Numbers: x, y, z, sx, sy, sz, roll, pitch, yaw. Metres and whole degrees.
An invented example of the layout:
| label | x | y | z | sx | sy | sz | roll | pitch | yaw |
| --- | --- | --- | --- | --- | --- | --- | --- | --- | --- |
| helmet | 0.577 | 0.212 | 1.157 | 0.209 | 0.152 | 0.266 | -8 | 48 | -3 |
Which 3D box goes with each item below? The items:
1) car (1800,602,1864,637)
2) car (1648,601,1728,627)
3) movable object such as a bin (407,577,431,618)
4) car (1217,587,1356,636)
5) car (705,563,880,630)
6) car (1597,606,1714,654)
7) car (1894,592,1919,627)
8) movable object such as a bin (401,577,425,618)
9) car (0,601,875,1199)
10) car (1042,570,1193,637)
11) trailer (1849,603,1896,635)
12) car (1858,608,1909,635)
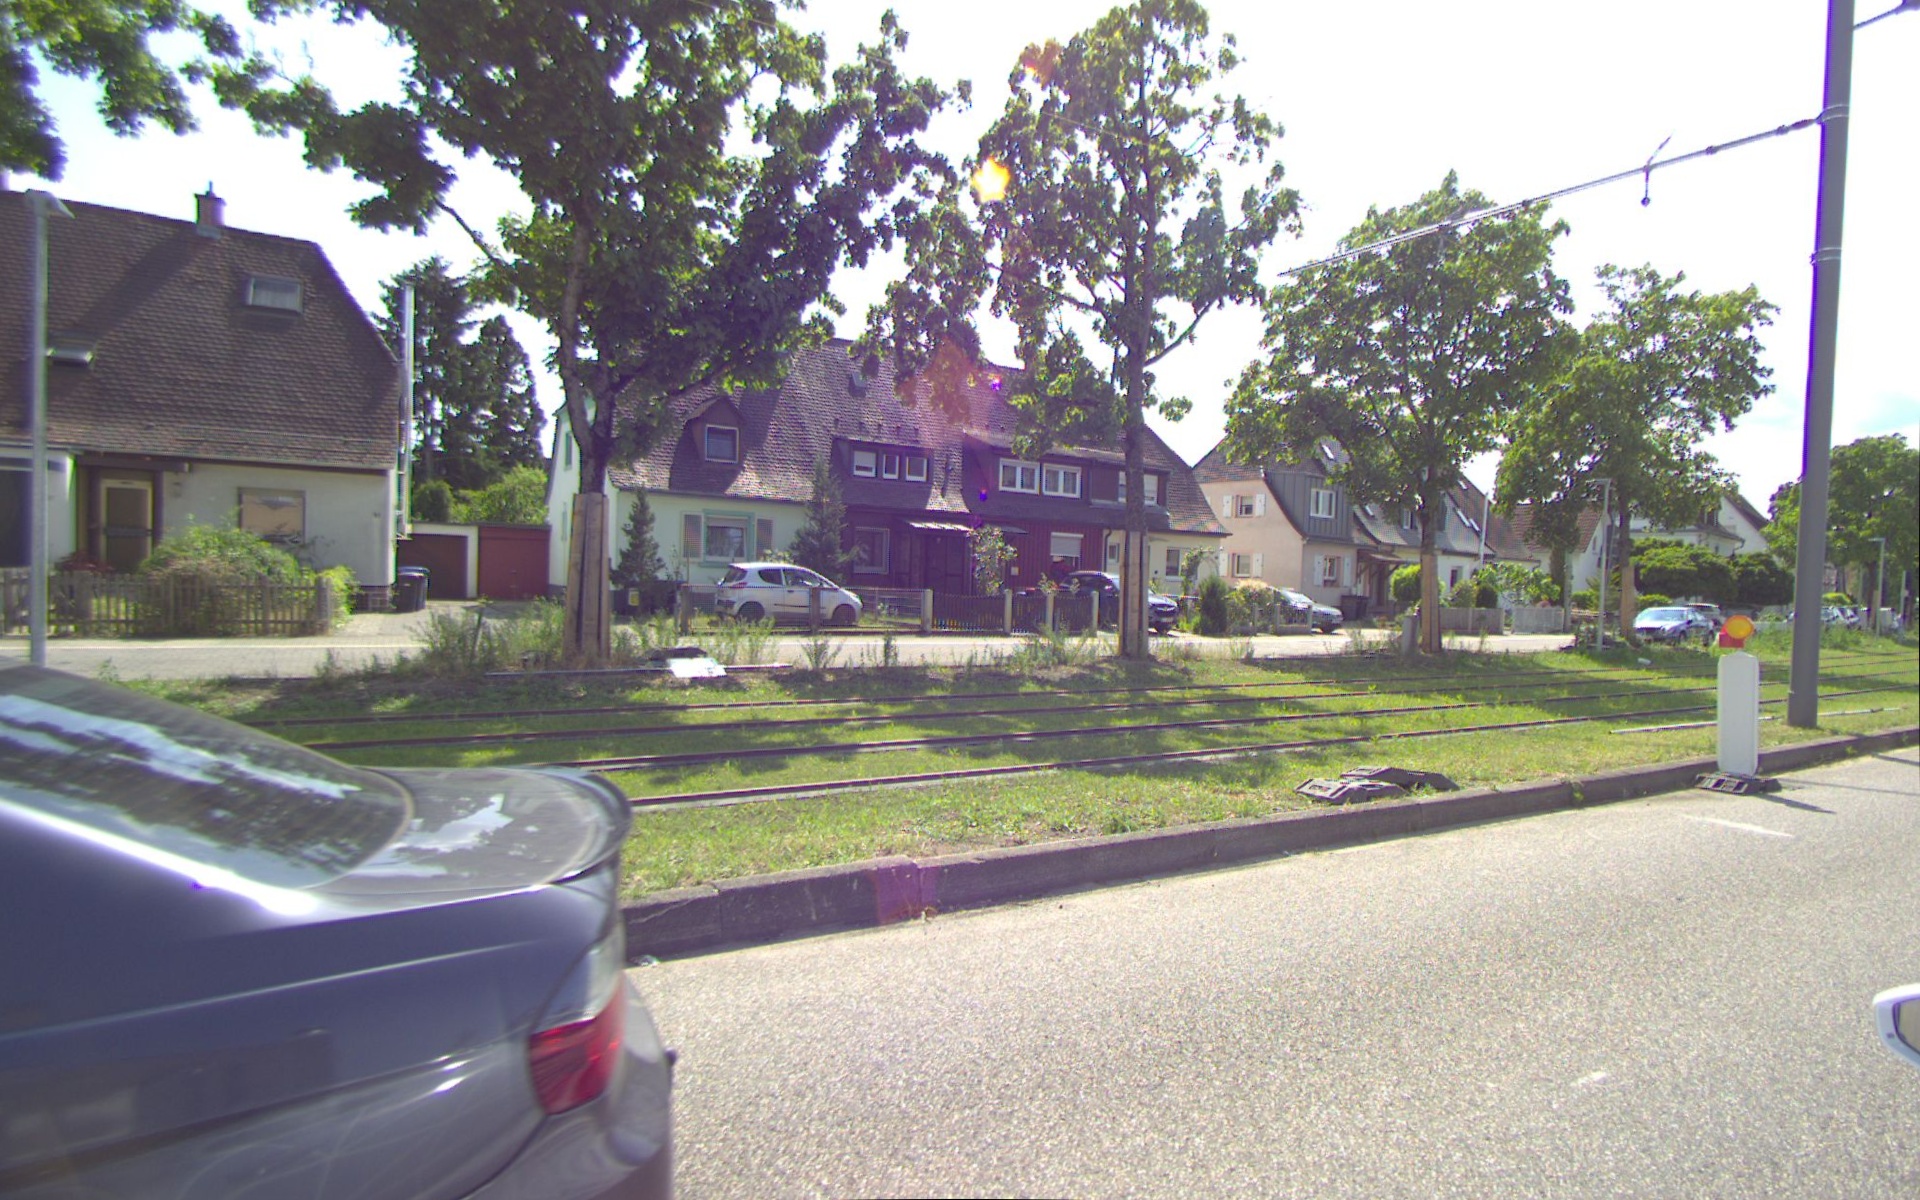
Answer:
| label | x | y | z | sx | sy | sz | roll | pitch | yaw |
| --- | --- | --- | --- | --- | --- | --- | --- | --- | --- |
| car | 43.184 | 0.963 | 49.728 | 4.529 | 1.659 | 1.681 | 1 | 0 | -40 |
| car | 47.717 | 0.900 | 65.867 | 1.782 | 1.592 | 3.948 | 0 | 1 | -43 |
| movable object such as a bin | -13.364 | -0.068 | 24.819 | 0.494 | 0.990 | 0.449 | 1 | 1 | -30 |
| car | 11.654 | 0.386 | 36.111 | 1.907 | 1.544 | 4.439 | 1 | 1 | -36 |
| car | -4.178 | -0.073 | 25.298 | 4.004 | 1.538 | 1.716 | 1 | 1 | -35 |
| car | 23.638 | 0.993 | 34.072 | 4.767 | 1.425 | 1.806 | 1 | 1 | -37 |
| car | 76.952 | 0.770 | 81.172 | 2.052 | 2.757 | 6.959 | 0 | 0 | 44 |
| movable object such as a bin | -13.253 | -0.059 | 24.326 | 0.494 | 0.990 | 0.449 | 1 | 1 | -30 |
| car | -2.317 | 0.719 | 1.225 | 4.077 | 1.407 | 1.714 | 1 | 1 | -33 |
| car | 4.775 | 0.058 | 31.008 | 2.045 | 1.861 | 4.439 | 1 | 1 | -36 |
| trailer | 51.325 | 1.067 | 56.484 | 3.346 | 1.700 | 1.551 | 1 | 2 | -42 |
| car | 55.062 | 1.257 | 59.879 | 4.531 | 1.525 | 1.714 | 1 | 0 | -41 |
